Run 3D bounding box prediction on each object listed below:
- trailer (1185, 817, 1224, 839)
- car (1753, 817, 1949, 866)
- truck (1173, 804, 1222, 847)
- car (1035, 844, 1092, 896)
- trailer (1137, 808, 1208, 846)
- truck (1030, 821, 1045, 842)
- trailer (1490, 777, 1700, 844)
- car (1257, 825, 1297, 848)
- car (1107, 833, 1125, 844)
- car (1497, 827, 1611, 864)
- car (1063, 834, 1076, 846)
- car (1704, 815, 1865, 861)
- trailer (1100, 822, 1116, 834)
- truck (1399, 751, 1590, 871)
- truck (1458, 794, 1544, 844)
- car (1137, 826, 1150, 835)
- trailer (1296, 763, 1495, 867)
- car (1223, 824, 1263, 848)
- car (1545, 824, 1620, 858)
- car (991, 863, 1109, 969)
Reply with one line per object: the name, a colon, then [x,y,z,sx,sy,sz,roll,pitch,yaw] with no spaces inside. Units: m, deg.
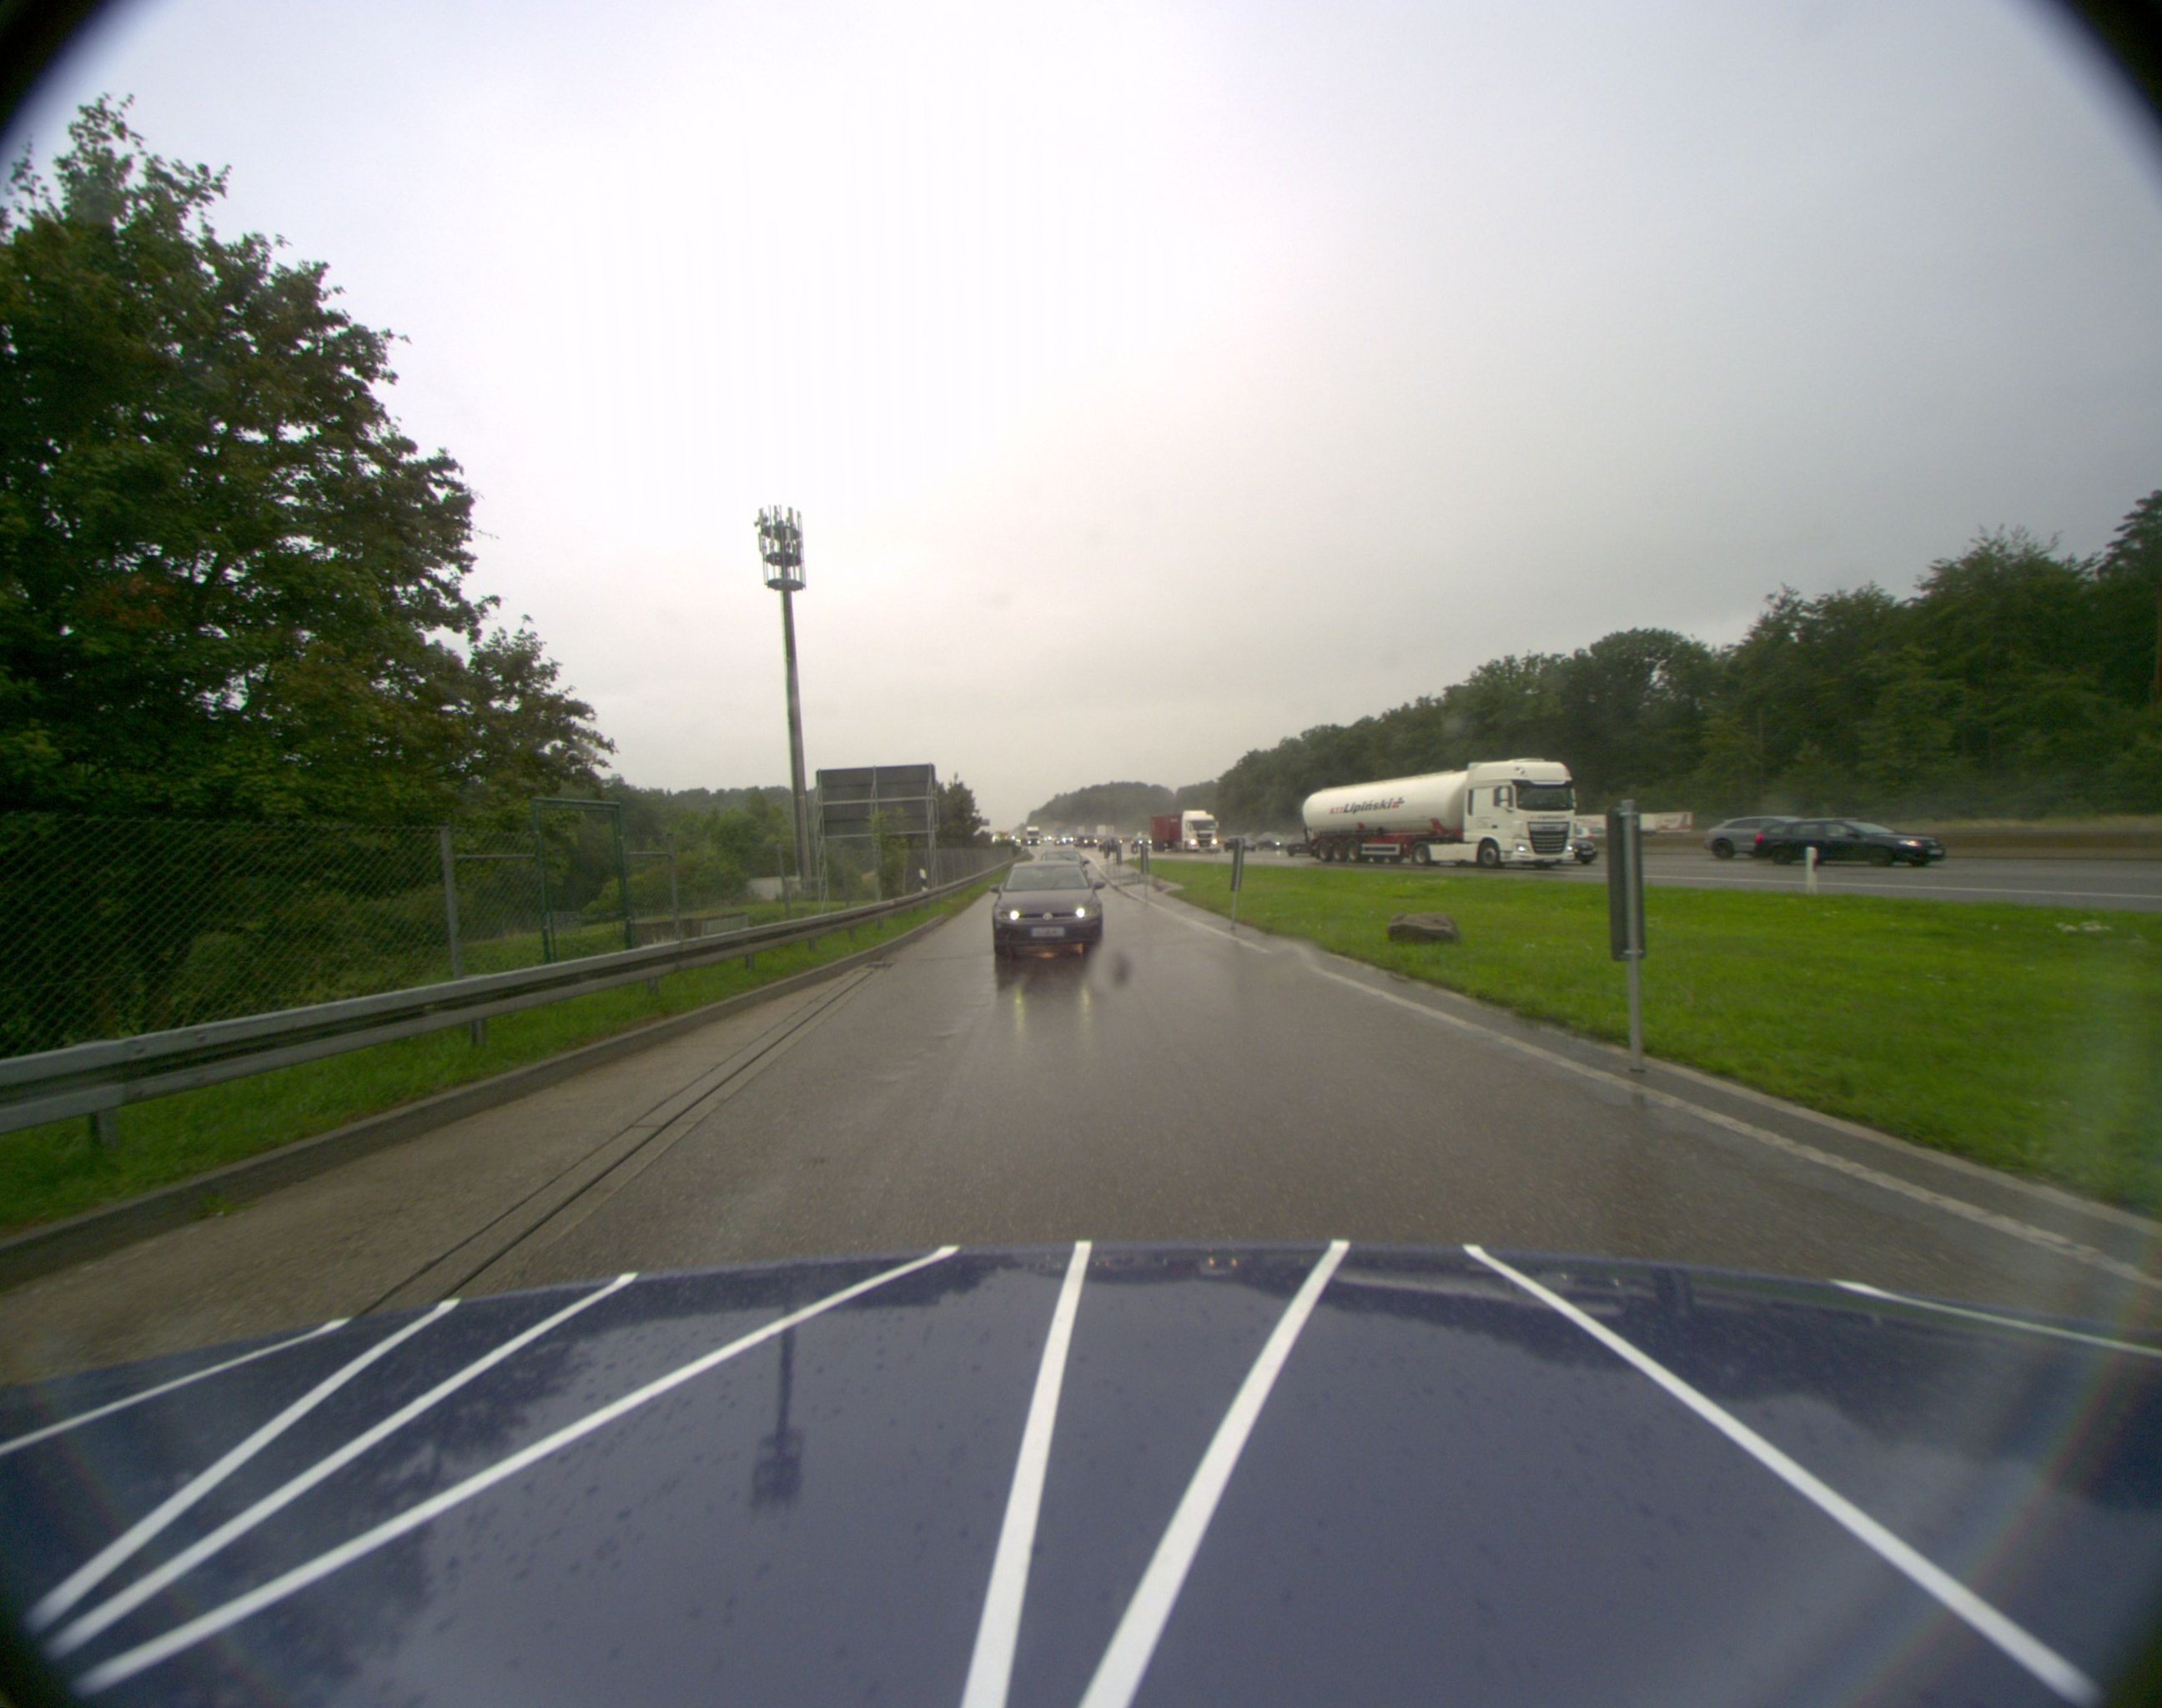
trailer: [23.614,-4.838,145.803,3.037,3.790,13.395,-4,1,-9]
car: [24.620,-0.385,24.517,1.824,1.406,4.119,-2,1,-11]
truck: [10.943,-2.667,71.971,2.698,3.637,5.319,-6,3,-10]
car: [-0.631,0.525,28.269,1.810,1.533,3.998,-6,2,-1]
trailer: [9.359,-2.782,80.446,2.692,3.486,15.107,-6,2,-10]
truck: [-9.033,-4.687,157.554,2.597,4.121,5.227,-5,2,-4]
trailer: [36.415,-2.864,55.234,2.624,3.659,14.656,-6,1,-12]
car: [18.344,-1.656,71.223,2.000,2.002,3.995,-3,1,-11]
car: [5.507,-2.482,119.733,1.789,1.550,4.093,-2,0,-14]
car: [19.275,-0.365,31.172,1.824,1.365,3.996,-2,1,-8]
car: [-2.310,-2.830,150.264,1.918,2.003,3.995,-8,4,-8]
car: [27.365,-0.632,29.778,1.824,1.659,4.399,-1,2,-12]
trailer: [8.206,-8.117,234.889,2.657,3.478,13.472,-3,2,-8]
truck: [15.401,-1.517,28.967,2.759,3.986,6.500,-3,2,-12]
truck: [34.687,-2.808,63.025,2.631,3.649,5.986,-6,1,-12]
car: [15.617,-5.875,188.902,2.000,2.003,4.477,-5,3,-11]
trailer: [14.046,-1.625,35.558,2.772,4.003,11.028,-3,1,-12]
car: [14.916,-1.659,70.198,2.000,2.002,4.107,-3,2,-11]
car: [31.277,-0.775,47.507,1.682,1.727,3.650,-8,-1,-12]
car: [-0.536,0.923,13.209,1.670,1.394,4.260,-2,1,-2]
